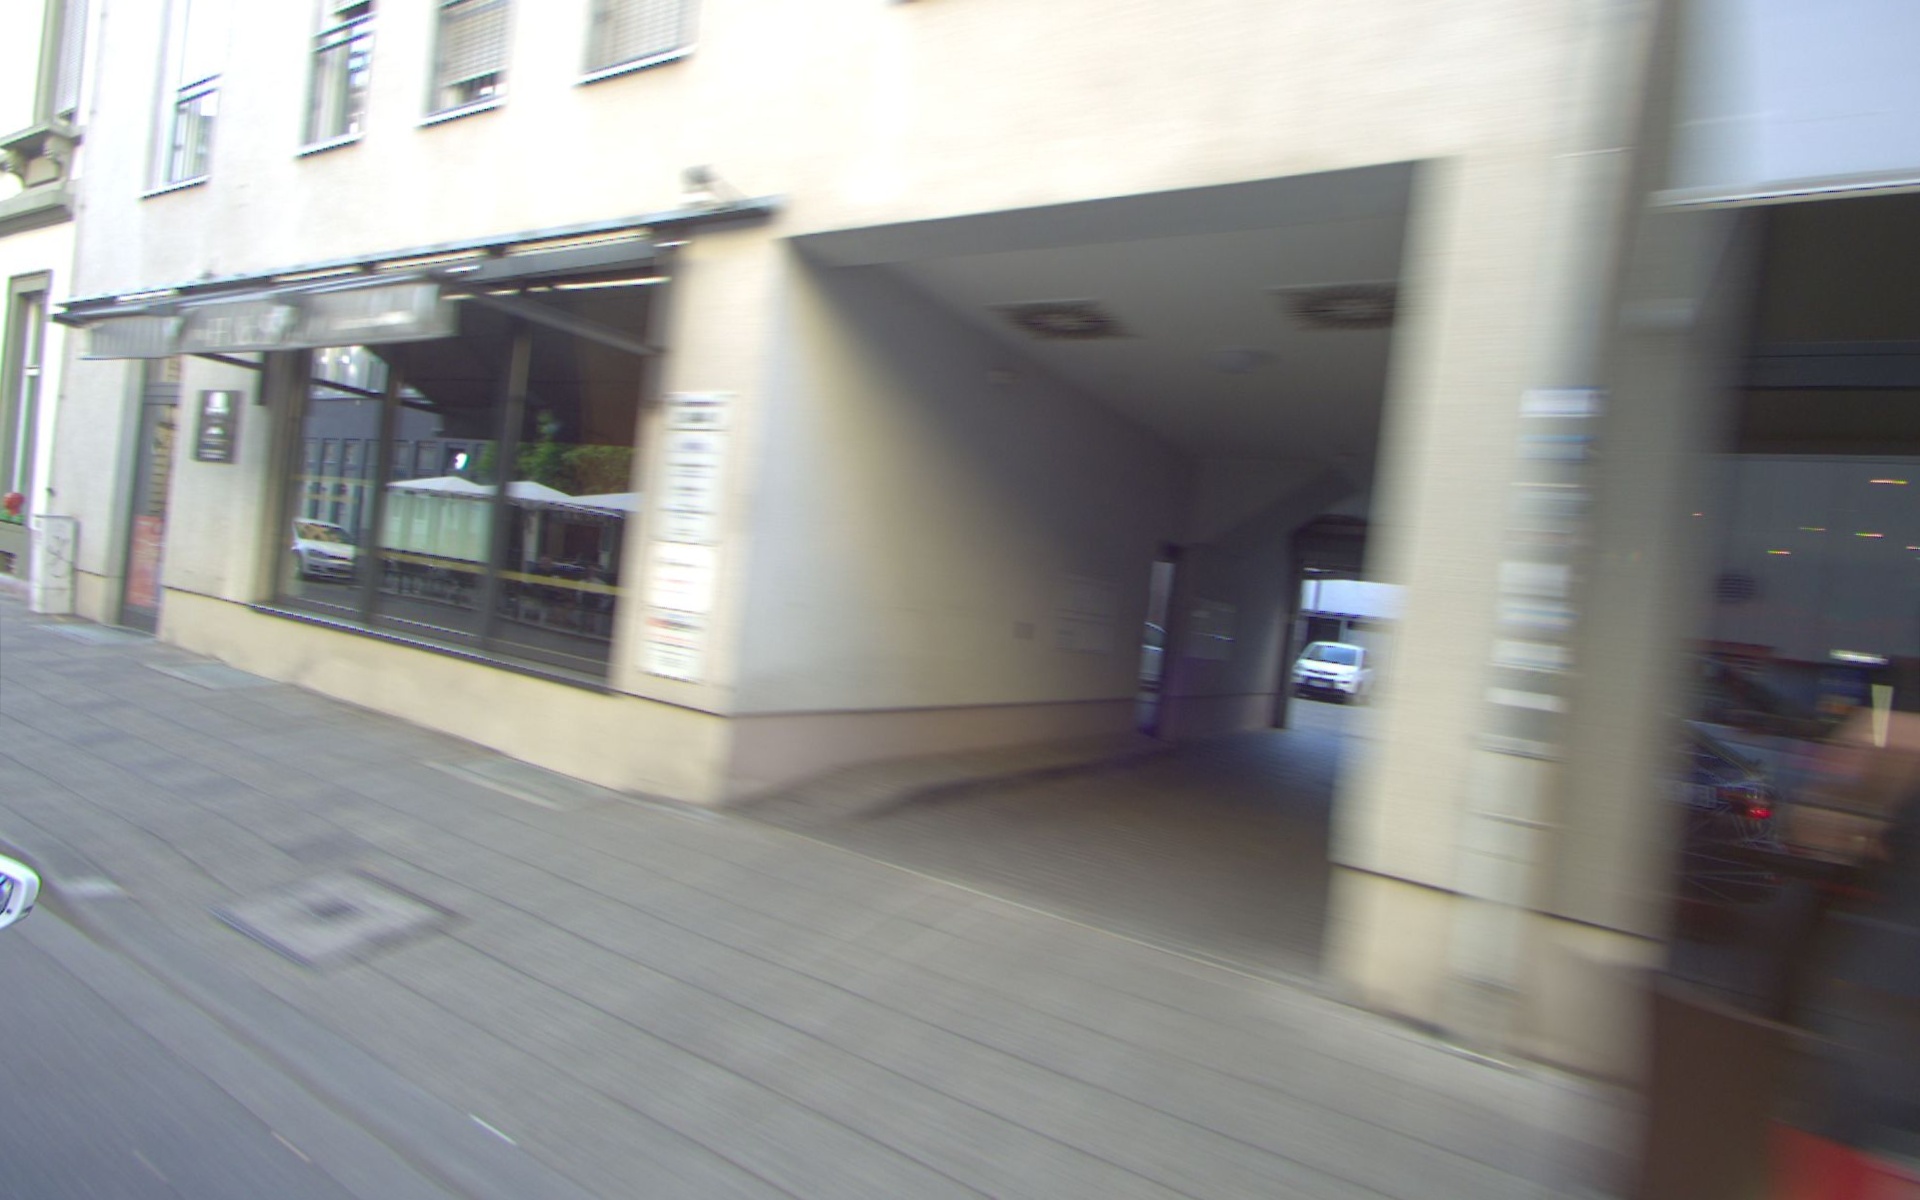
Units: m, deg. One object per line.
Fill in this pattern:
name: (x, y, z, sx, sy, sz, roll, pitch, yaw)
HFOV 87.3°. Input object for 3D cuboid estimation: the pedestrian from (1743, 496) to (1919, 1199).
pedestrian: (2.587, 0.694, 2.557, 0.719, 1.818, 0.657, 8, 5, 36)

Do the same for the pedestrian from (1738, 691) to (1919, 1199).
pedestrian: (2.529, 1.030, 2.520, 0.650, 1.505, 0.826, 8, 2, 30)
